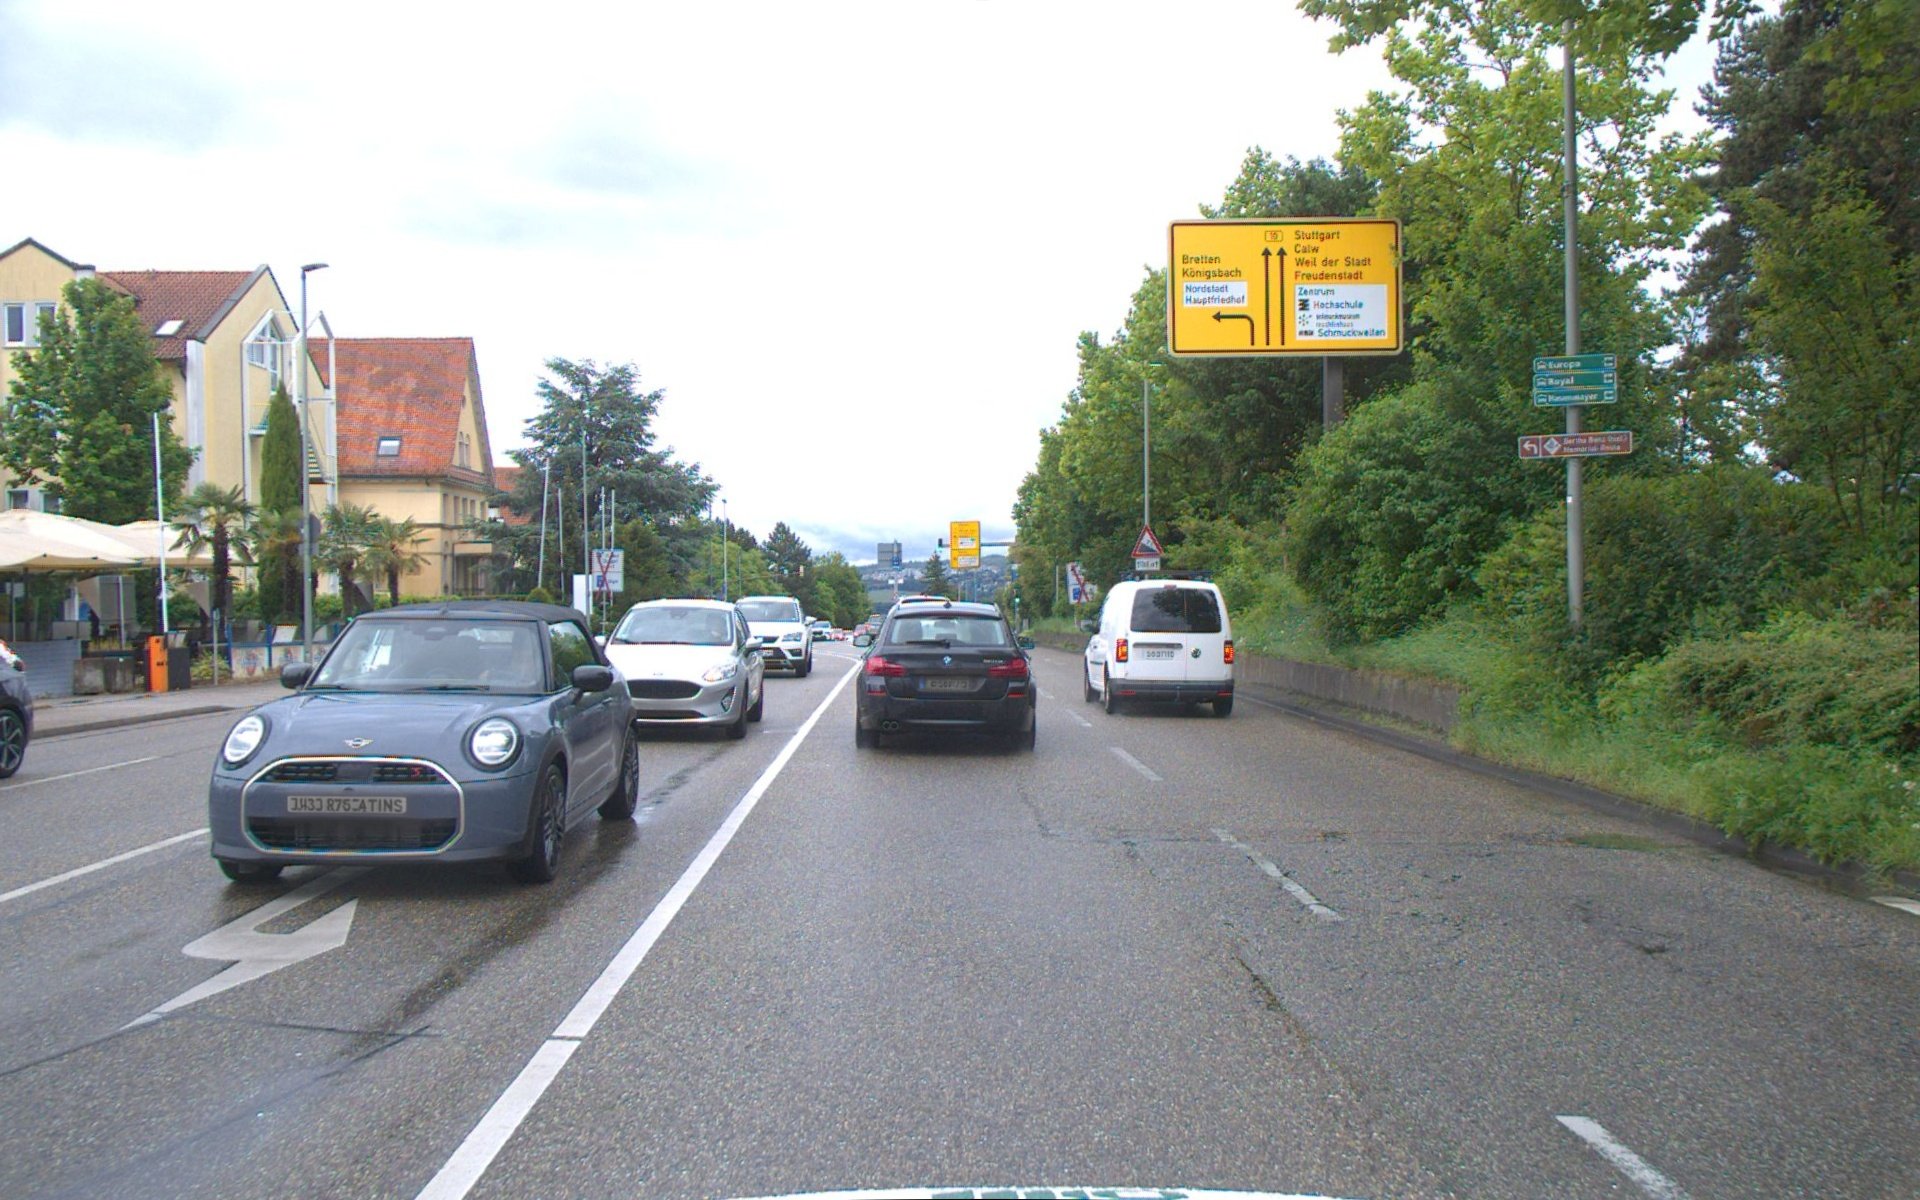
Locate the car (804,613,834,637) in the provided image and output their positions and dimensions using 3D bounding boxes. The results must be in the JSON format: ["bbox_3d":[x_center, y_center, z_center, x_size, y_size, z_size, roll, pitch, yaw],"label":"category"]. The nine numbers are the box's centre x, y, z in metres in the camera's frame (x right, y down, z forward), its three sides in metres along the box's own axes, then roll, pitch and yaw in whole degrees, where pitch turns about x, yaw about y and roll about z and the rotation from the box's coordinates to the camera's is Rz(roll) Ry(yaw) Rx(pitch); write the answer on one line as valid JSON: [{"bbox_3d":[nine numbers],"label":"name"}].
[{"bbox_3d":[-11.259,2.021,132.505,1.878,1.793,5.142,-3,-1,0],"label":"car"}]

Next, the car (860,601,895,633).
[{"bbox_3d":[-4.669,0.952,93.750,1.830,1.702,4.000,0,1,0],"label":"car"}]

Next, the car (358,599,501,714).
[{"bbox_3d":[-7.631,0.761,24.079,1.609,1.503,4.031,-1,0,-13],"label":"car"}]

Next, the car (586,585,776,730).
[{"bbox_3d":[-3.059,0.605,18.802,1.569,1.466,3.947,0,-1,-2],"label":"car"}]

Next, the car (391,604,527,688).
[{"bbox_3d":[-10.187,0.898,33.873,1.604,1.560,3.970,-3,0,-2],"label":"car"}]

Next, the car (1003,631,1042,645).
[{"bbox_3d":[6.357,3.855,167.379,3.903,1.401,1.586,0,-1,3],"label":"car"}]

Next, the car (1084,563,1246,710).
[{"bbox_3d":[2.818,0.433,23.466,1.729,1.910,3.804,0,1,-2],"label":"car"}]

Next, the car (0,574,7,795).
[{"bbox_3d":[-2.483,0.644,0.870,1.599,1.459,4.143,1,-1,-1],"label":"car"}]

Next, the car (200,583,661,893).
[{"bbox_3d":[-2.886,0.642,9.886,1.569,1.466,3.948,0,1,-2],"label":"car"}]

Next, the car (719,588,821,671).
[{"bbox_3d":[-3.874,0.600,34.339,1.751,1.609,4.237,0,-1,-2],"label":"car"}]

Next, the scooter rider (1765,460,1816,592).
[{"bbox_3d":[12.780,-1.127,25.455,0.490,1.999,0.547,-1,1,-1],"label":"scooter rider"}]

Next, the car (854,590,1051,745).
[{"bbox_3d":[-0.083,0.651,17.662,1.860,1.467,3.999,0,0,0],"label":"car"}]

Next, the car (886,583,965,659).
[{"bbox_3d":[-0.808,0.467,40.203,1.830,1.702,4.000,0,1,0],"label":"car"}]

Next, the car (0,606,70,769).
[{"bbox_3d":[-9.244,0.830,13.590,1.570,1.424,4.403,-3,1,-3],"label":"car"}]
